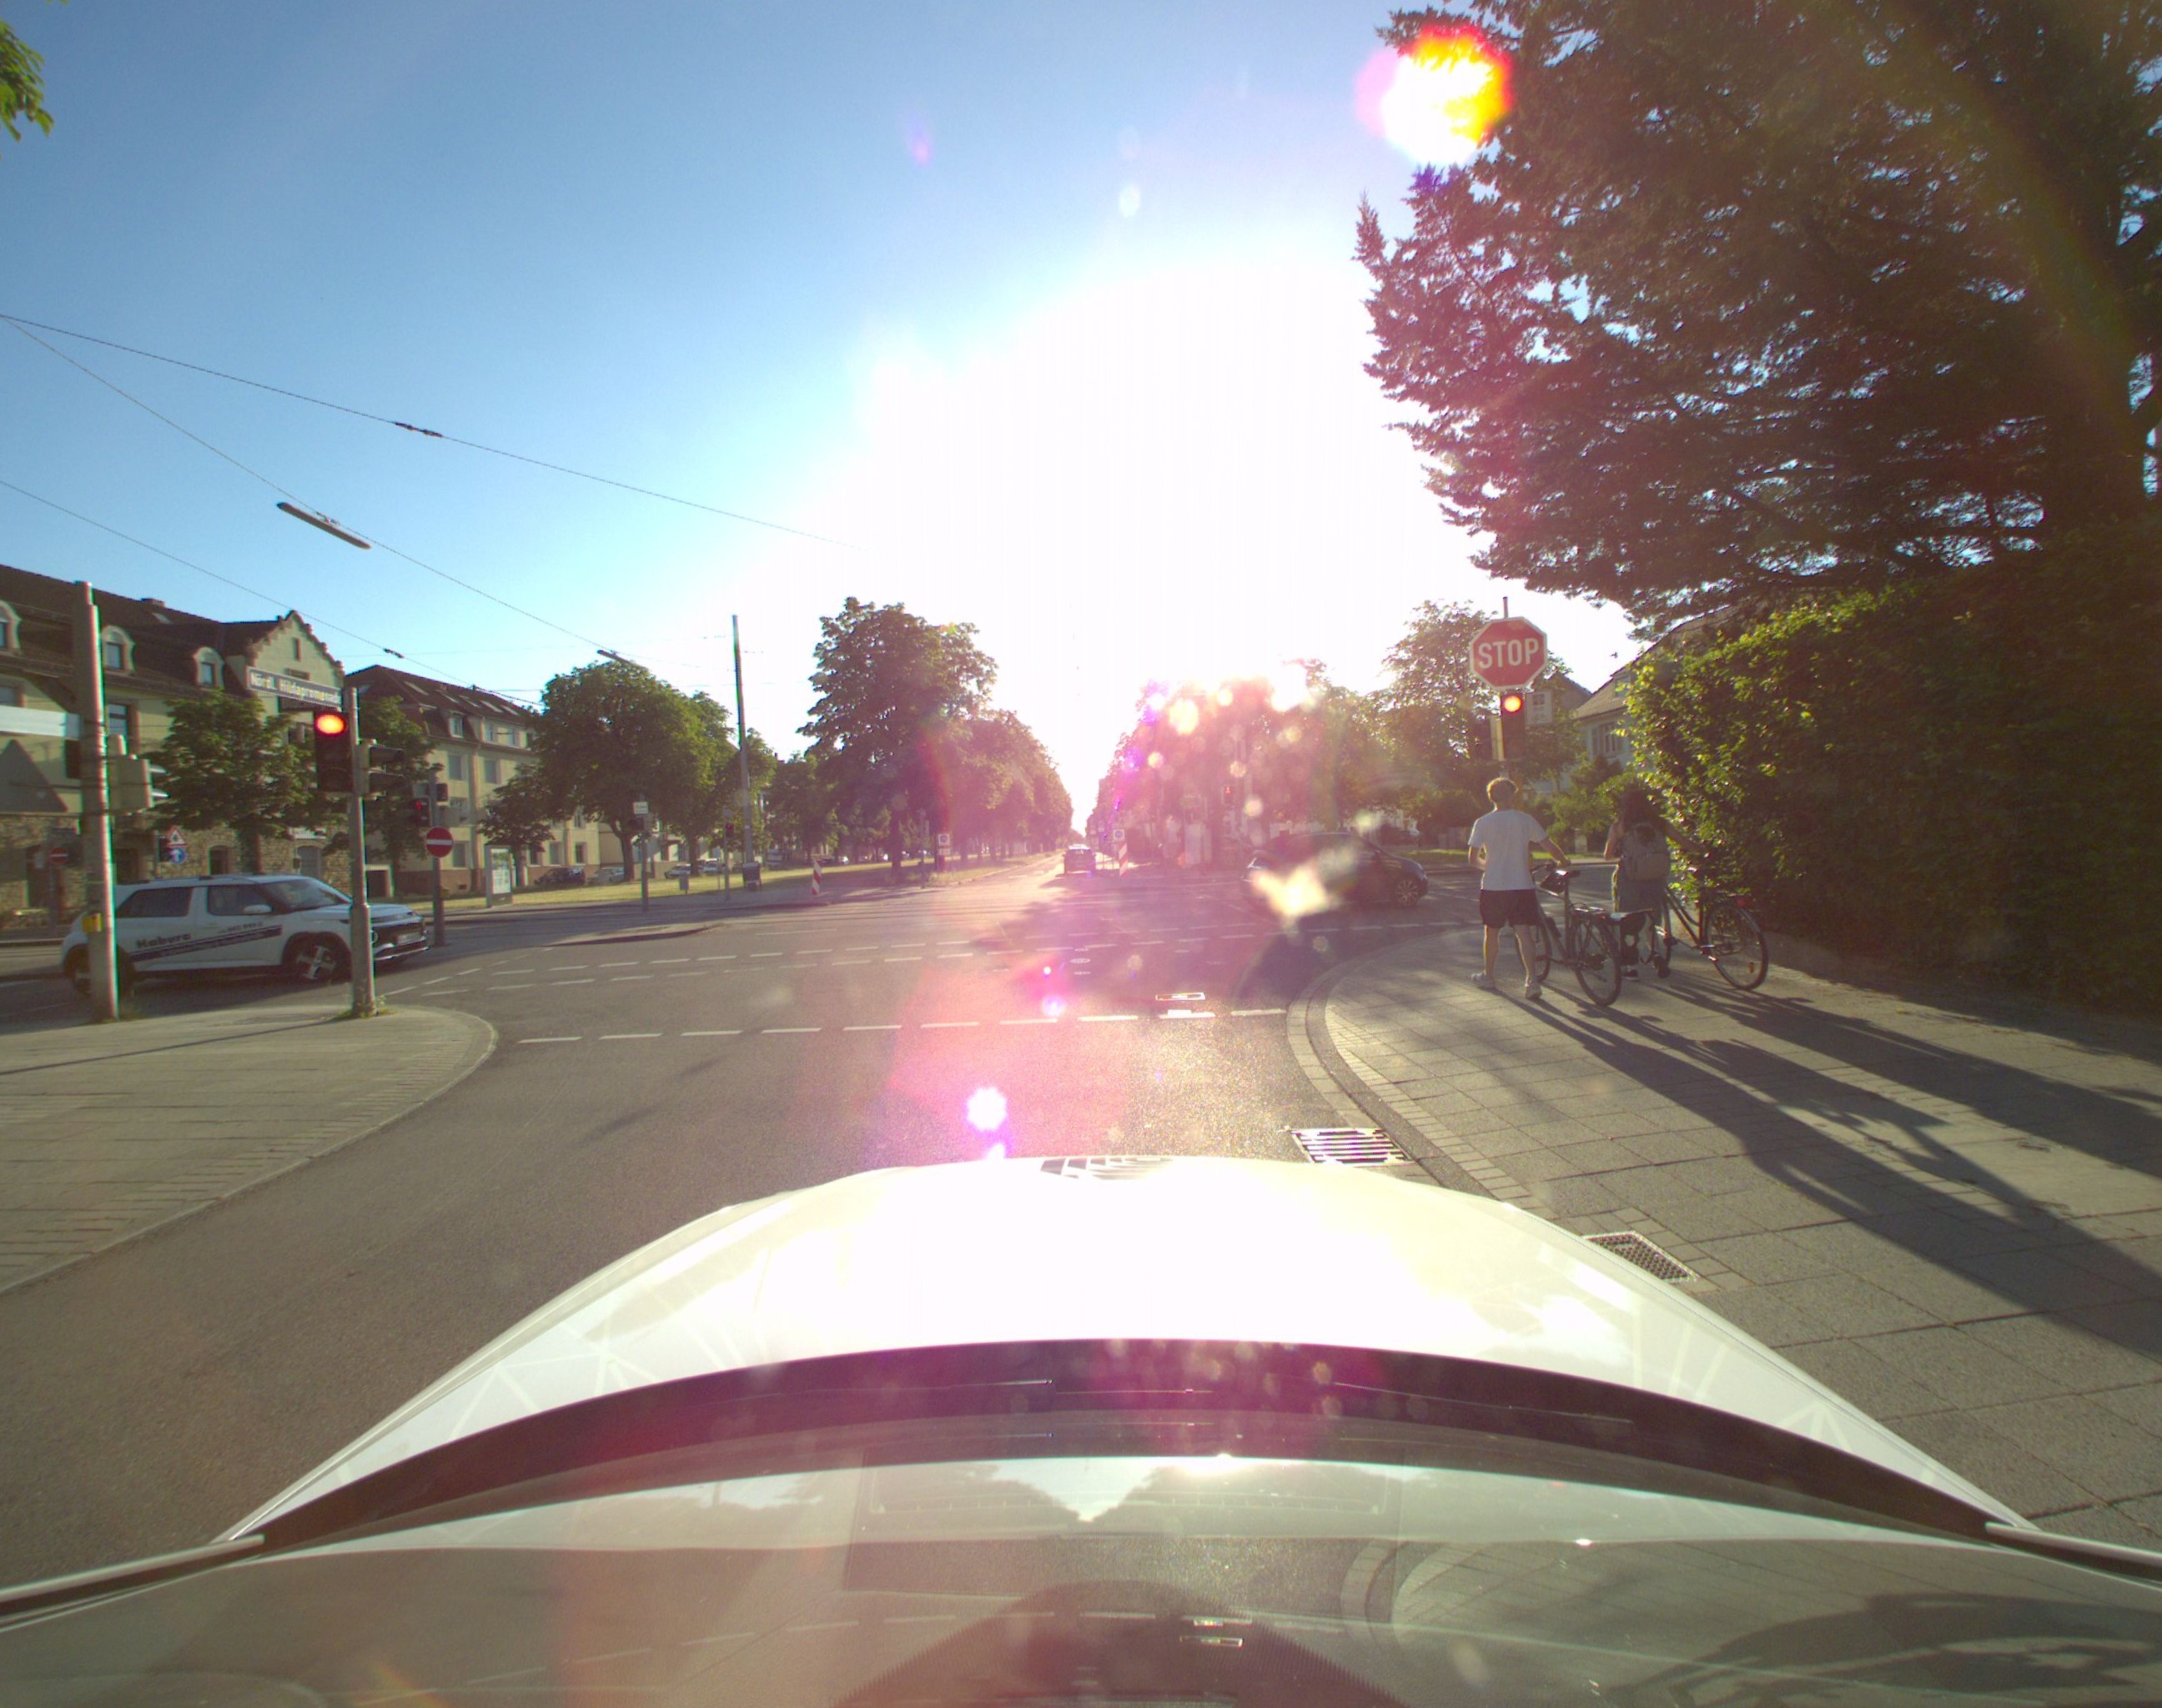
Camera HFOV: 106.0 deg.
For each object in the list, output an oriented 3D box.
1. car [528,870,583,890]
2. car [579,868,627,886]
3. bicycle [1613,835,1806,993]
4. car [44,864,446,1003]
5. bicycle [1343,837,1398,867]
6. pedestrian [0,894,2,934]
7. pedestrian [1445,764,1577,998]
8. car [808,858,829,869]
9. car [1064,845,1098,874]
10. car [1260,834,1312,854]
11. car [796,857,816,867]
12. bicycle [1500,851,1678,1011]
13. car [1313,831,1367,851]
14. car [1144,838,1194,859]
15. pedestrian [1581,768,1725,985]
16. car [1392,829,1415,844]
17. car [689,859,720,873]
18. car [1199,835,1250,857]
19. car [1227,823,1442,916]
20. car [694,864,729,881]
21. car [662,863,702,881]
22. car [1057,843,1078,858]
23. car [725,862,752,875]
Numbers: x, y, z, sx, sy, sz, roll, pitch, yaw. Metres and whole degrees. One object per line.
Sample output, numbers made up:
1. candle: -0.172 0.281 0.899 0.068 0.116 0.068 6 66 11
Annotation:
1. car: -43.123 2.100 66.903 1.729 1.397 3.799 -2 0 6
2. car: -43.056 2.020 73.382 1.729 1.427 3.799 -2 1 6
3. bicycle: 5.190 0.431 6.850 0.484 1.142 1.602 -5 1 8
4. car: -12.213 1.102 12.178 3.864 1.551 1.607 -4 2 -10
5. bicycle: 11.644 -0.086 32.768 1.946 1.132 0.620 -3 0 2
6. pedestrian: -45.359 2.516 33.553 0.808 1.642 0.727 -2 0 8
7. pedestrian: 3.719 0.216 7.117 0.665 1.865 0.885 -6 1 13
8. car: -37.726 1.387 117.216 1.732 1.427 3.793 -2 0 1
9. car: 0.031 0.265 44.079 1.634 1.450 3.310 -2 1 3
10. car: 16.375 -0.761 65.091 3.656 1.427 1.529 -2 0 -4
11. car: -43.110 1.292 127.546 1.732 1.427 3.793 -2 1 1
12. bicycle: 4.181 0.565 6.862 0.484 1.097 1.794 -5 1 7
13. car: 20.887 -1.022 65.759 3.838 1.427 1.595 -2 0 -4
14. car: 6.996 -0.439 65.041 3.767 1.427 1.744 -2 2 0
15. pedestrian: 4.851 0.180 6.953 0.665 1.708 0.624 -6 1 7
16. car: 33.014 -1.829 83.349 1.648 1.417 3.565 -2 1 30
17. car: -43.126 1.317 93.310 1.732 1.427 3.793 -2 1 1
18. car: 11.495 -0.638 65.262 3.767 1.525 1.744 -2 2 0
19. car: 4.840 0.254 15.718 3.597 1.497 1.606 -3 1 -11
20. car: -37.323 1.844 82.337 1.732 1.427 3.793 -2 2 1
21. car: -37.320 1.674 76.284 1.732 1.427 3.793 -2 1 1
22. car: -1.252 -0.371 78.240 1.839 1.393 3.829 -2 1 1
23. car: -43.546 1.840 103.600 1.732 1.427 3.793 -2 0 1
